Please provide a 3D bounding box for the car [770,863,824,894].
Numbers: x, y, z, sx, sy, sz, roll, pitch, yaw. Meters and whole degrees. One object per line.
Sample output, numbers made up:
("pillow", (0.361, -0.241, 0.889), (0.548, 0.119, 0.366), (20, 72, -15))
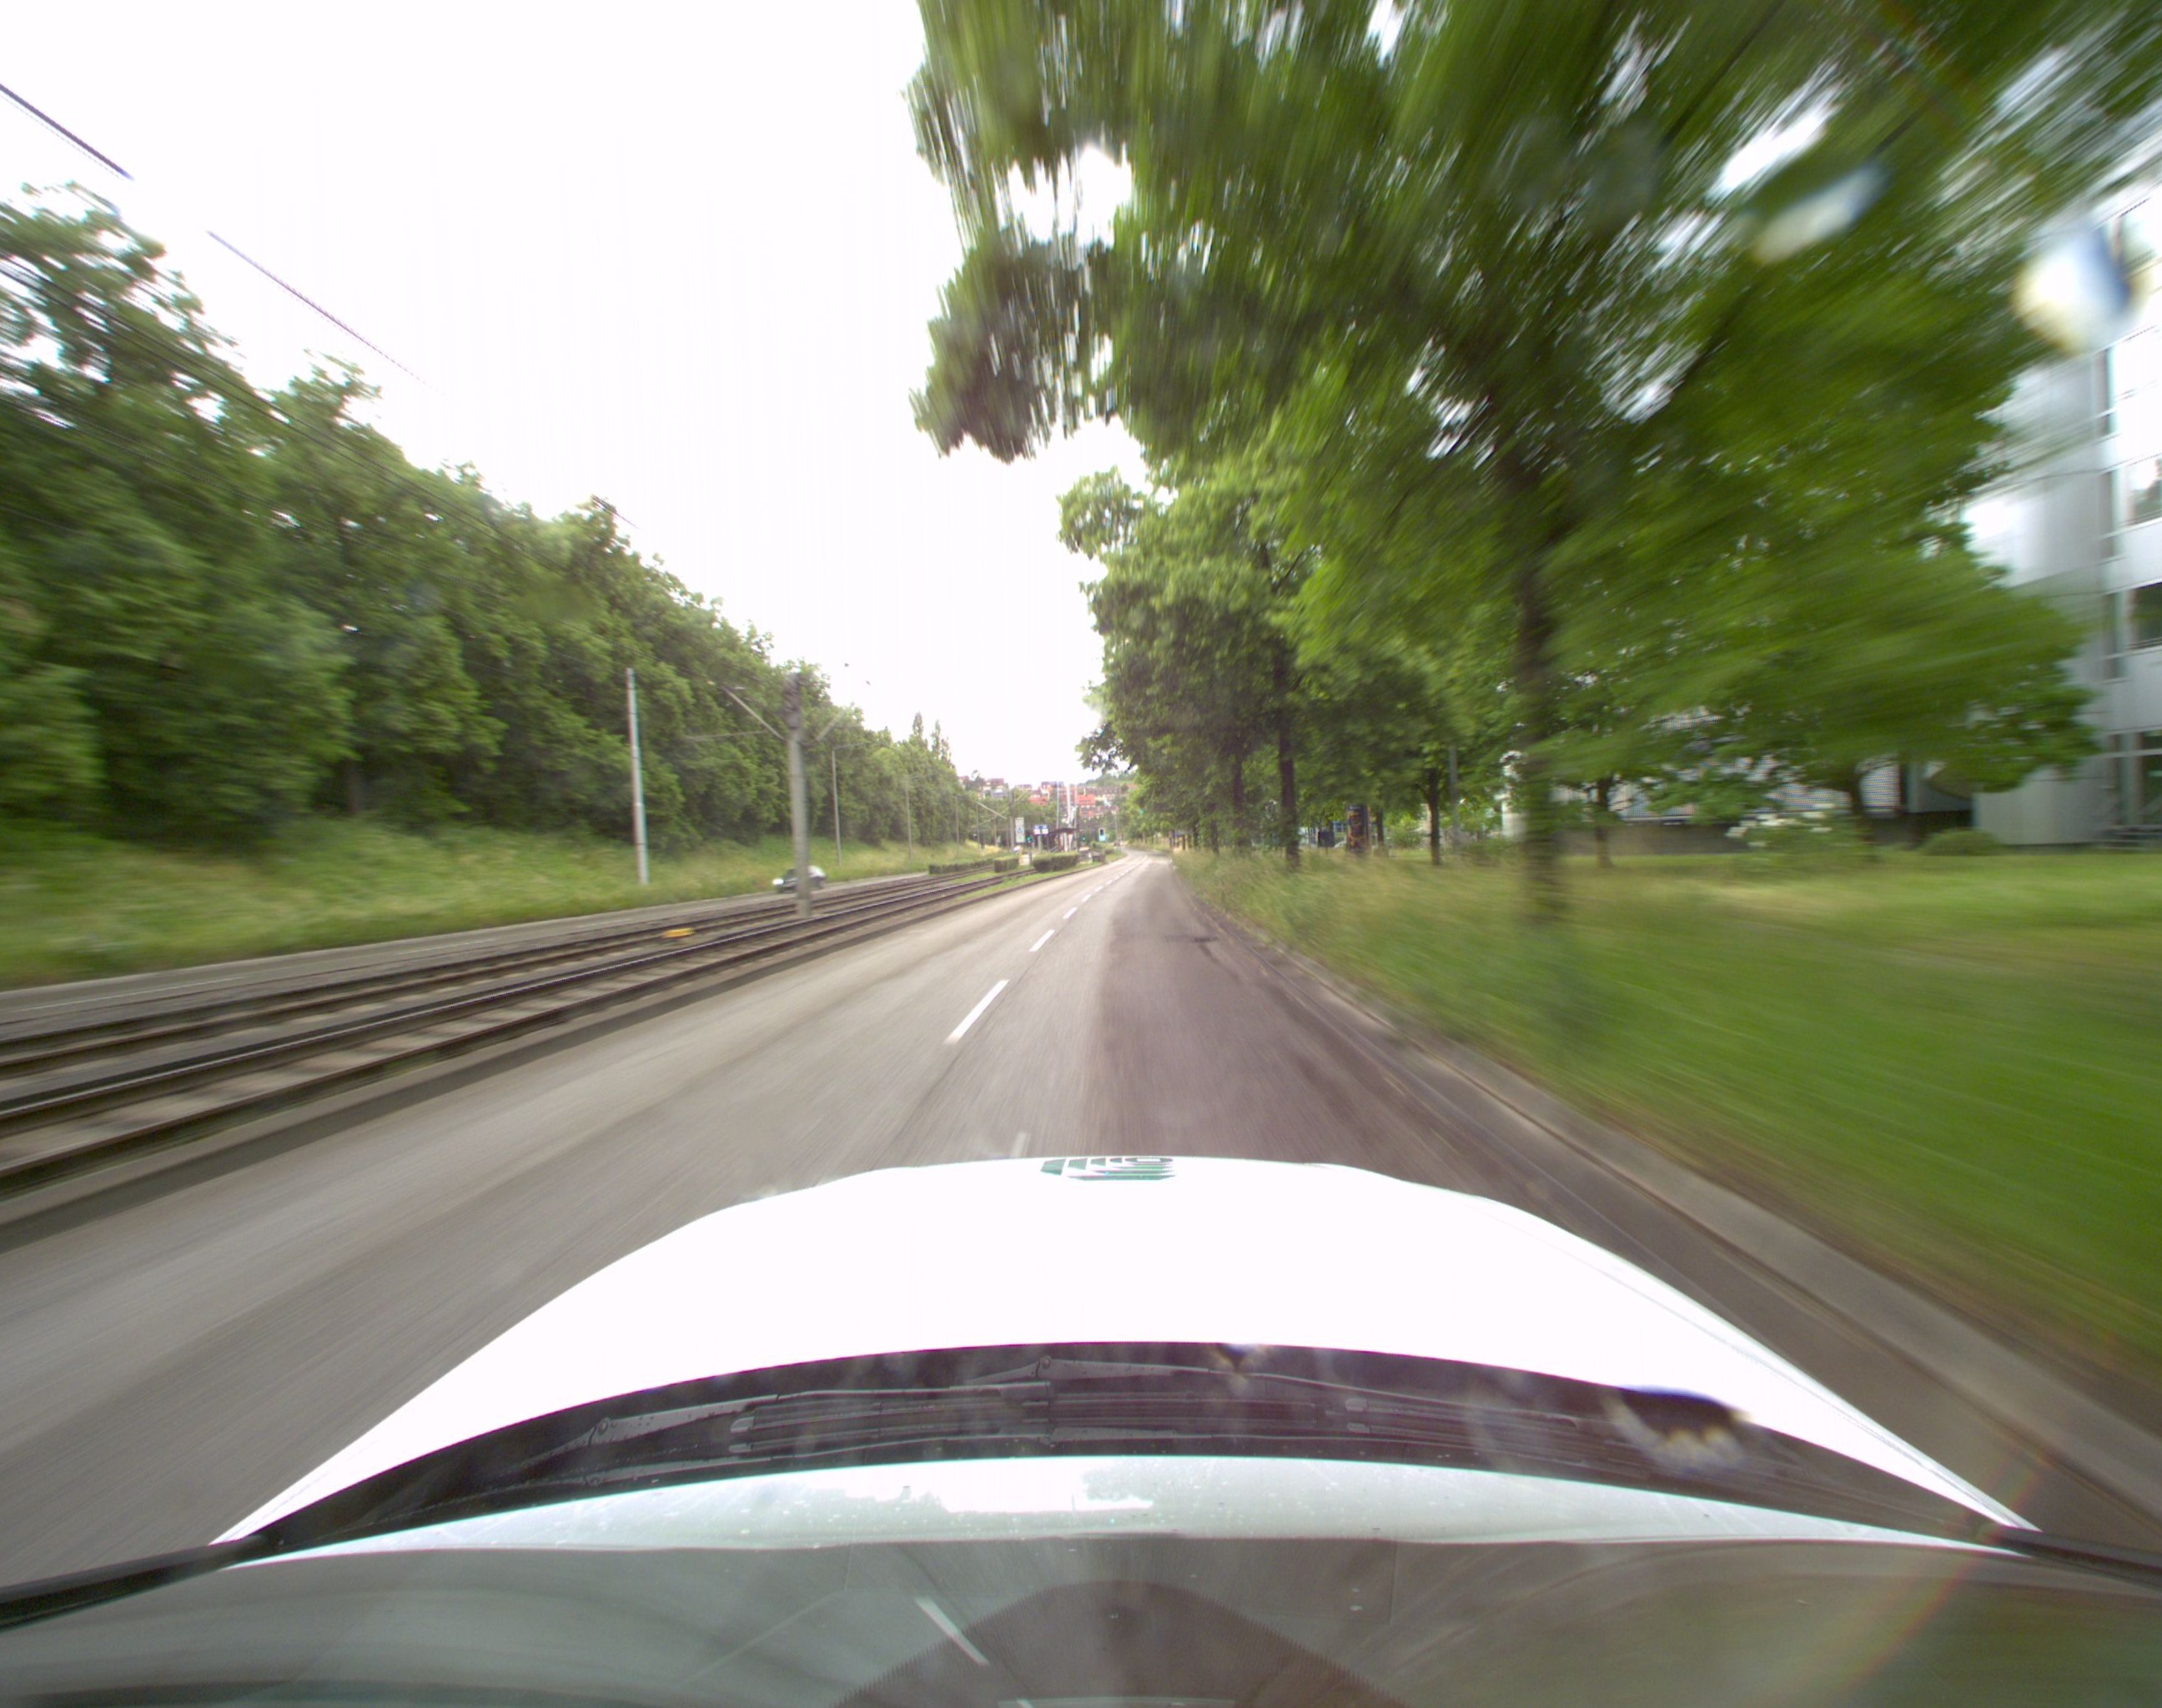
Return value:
("car", (-16.643, 1.409, 47.982), (1.780, 1.552, 3.959), (-4, 0, -2))
